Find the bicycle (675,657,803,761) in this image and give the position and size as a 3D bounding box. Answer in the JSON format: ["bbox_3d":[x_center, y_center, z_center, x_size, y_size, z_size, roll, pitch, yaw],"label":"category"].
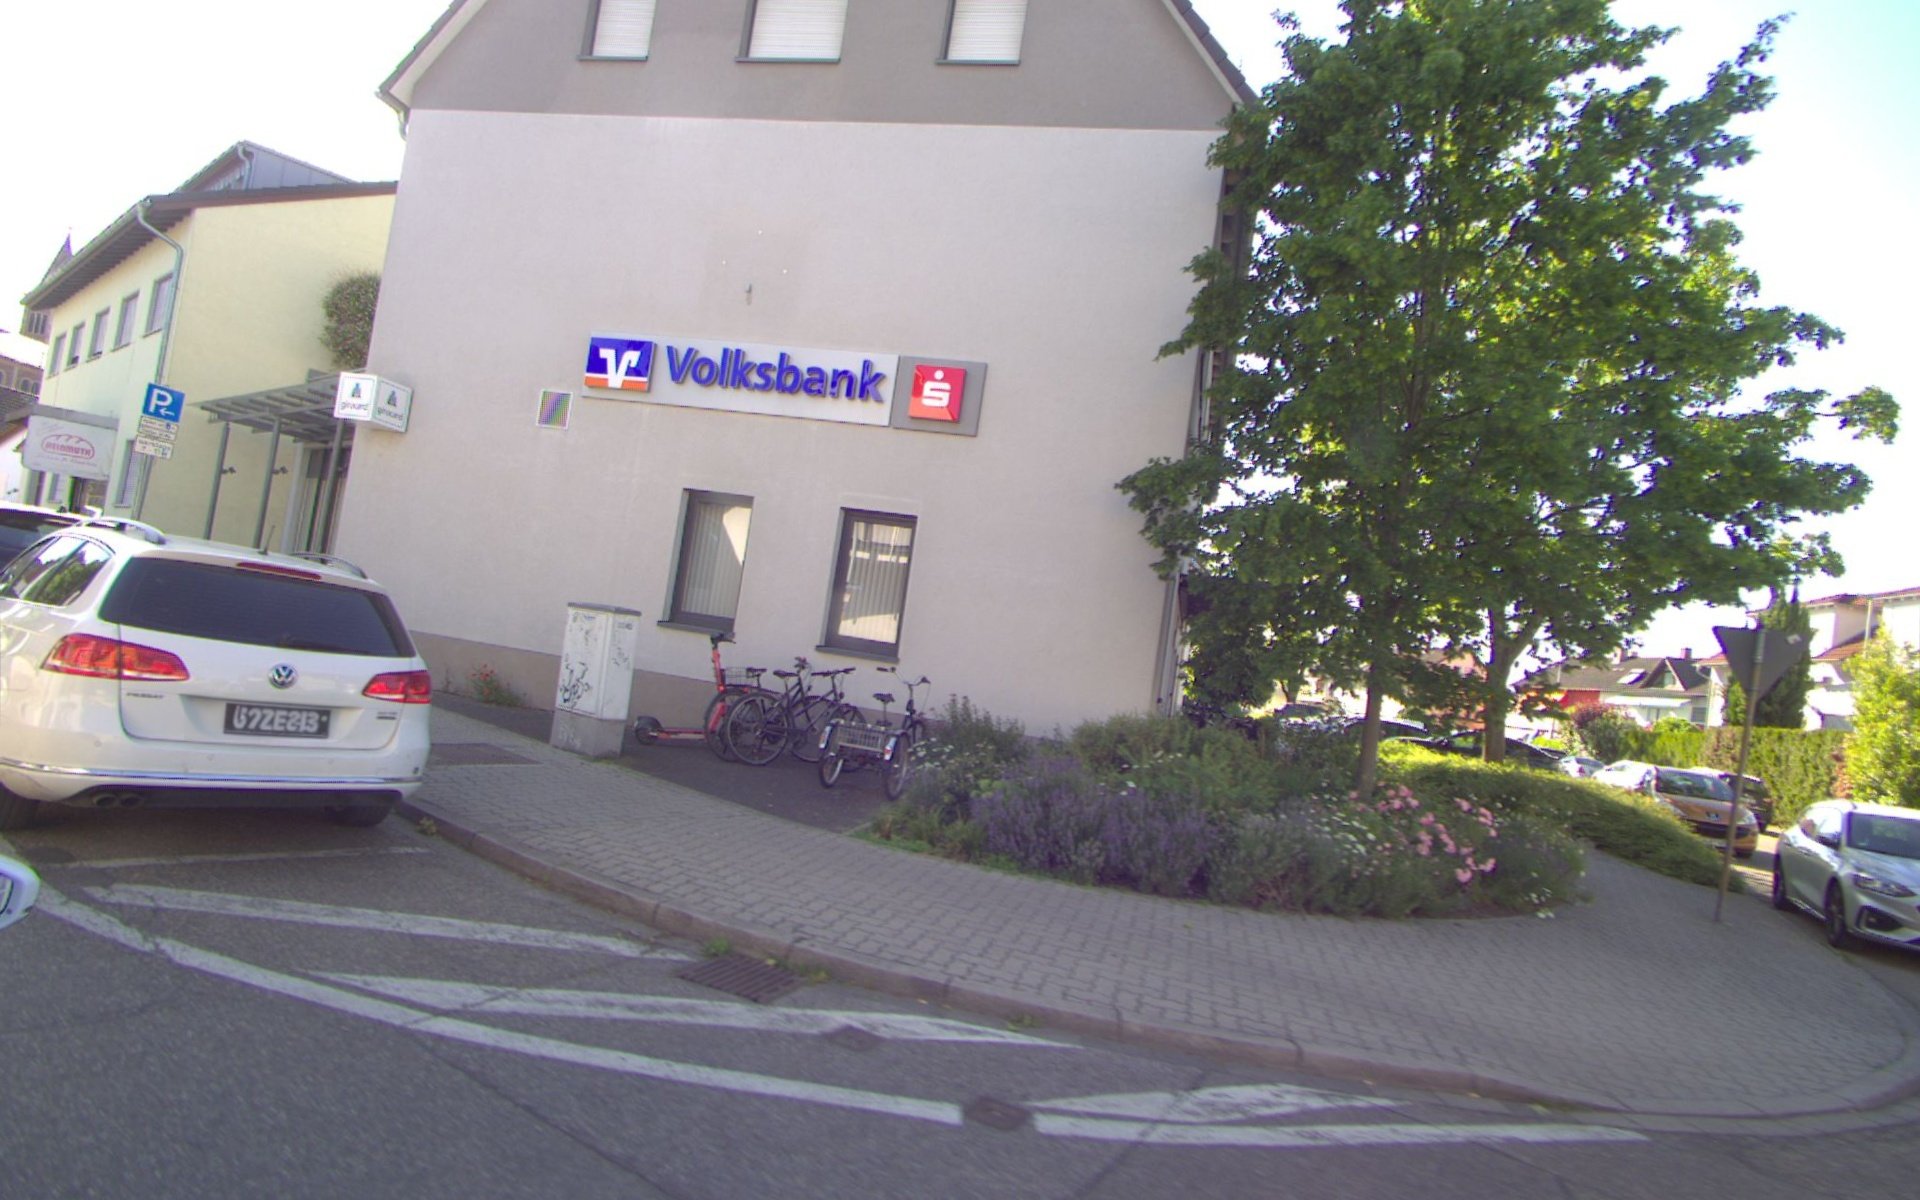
[{"bbox_3d":[-2.219,1.120,10.181,1.161,0.930,0.309,11,-3,-44],"label":"bicycle"}]

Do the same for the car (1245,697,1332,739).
[{"bbox_3d":[16.446,5.901,50.442,3.925,1.425,1.803,8,-2,19],"label":"car"}]

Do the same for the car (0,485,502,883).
[{"bbox_3d":[-4.744,0.275,6.011,4.443,1.530,1.846,7,-4,42],"label":"car"}]

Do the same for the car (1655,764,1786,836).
[{"bbox_3d":[22.928,5.995,30.512,1.666,1.515,3.730,7,-3,13],"label":"car"}]

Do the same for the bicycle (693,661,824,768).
[{"bbox_3d":[-1.956,1.142,9.873,1.161,0.930,0.309,11,-3,-44],"label":"bicycle"}]

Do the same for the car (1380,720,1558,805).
[{"bbox_3d":[13.375,4.222,26.484,3.933,1.425,1.799,7,-3,31],"label":"car"}]

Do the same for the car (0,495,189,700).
[{"bbox_3d":[-9.069,-0.179,9.588,3.912,1.536,1.613,7,-5,38],"label":"car"}]

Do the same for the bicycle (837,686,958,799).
[{"bbox_3d":[-0.546,1.305,9.160,0.308,0.930,1.164,7,-3,36],"label":"bicycle"}]

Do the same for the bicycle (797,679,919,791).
[{"bbox_3d":[-0.915,1.256,9.292,0.308,0.930,1.164,7,-3,36],"label":"bicycle"}]

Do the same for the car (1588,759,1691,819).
[{"bbox_3d":[24.123,6.682,35.856,1.666,1.515,3.730,7,-3,13],"label":"car"}]

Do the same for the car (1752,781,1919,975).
[{"bbox_3d":[10.186,2.949,10.788,1.783,1.510,4.304,8,-3,29],"label":"car"}]

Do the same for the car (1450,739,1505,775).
[{"bbox_3d":[28.327,8.574,55.176,1.666,1.515,3.730,7,-3,13],"label":"car"}]

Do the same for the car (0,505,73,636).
[{"bbox_3d":[-13.227,-0.601,13.132,3.819,1.490,1.728,6,-5,40],"label":"car"}]

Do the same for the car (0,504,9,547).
[{"bbox_3d":[-16.642,-1.022,15.782,4.380,1.490,1.811,6,-5,40],"label":"car"}]

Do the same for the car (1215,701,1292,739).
[{"bbox_3d":[16.446,6.693,56.273,3.925,1.425,1.803,8,-2,19],"label":"car"}]

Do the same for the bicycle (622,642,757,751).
[{"bbox_3d":[-2.811,1.025,10.536,1.218,0.986,0.317,11,-3,-38],"label":"bicycle"}]

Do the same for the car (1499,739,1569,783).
[{"bbox_3d":[26.422,7.395,46.424,1.666,1.515,3.730,7,-3,13],"label":"car"}]

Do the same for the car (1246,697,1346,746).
[{"bbox_3d":[14.637,5.287,43.948,3.925,1.425,1.803,8,-2,19],"label":"car"}]

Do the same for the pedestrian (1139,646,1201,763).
[{"bbox_3d":[3.948,1.958,18.888,0.752,2.036,0.775,8,-2,22],"label":"pedestrian"}]

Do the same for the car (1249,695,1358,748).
[{"bbox_3d":[13.904,4.903,40.870,3.925,1.425,1.803,8,-2,19],"label":"car"}]

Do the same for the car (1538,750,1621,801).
[{"bbox_3d":[25.438,7.165,41.424,1.666,1.515,3.730,7,-3,13],"label":"car"}]

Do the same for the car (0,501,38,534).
[{"bbox_3d":[-51.739,-4.628,53.376,3.901,1.508,1.826,11,-3,-41],"label":"car"}]

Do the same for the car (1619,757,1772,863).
[{"bbox_3d":[14.832,4.162,20.523,1.783,1.510,4.304,8,-3,29],"label":"car"}]
